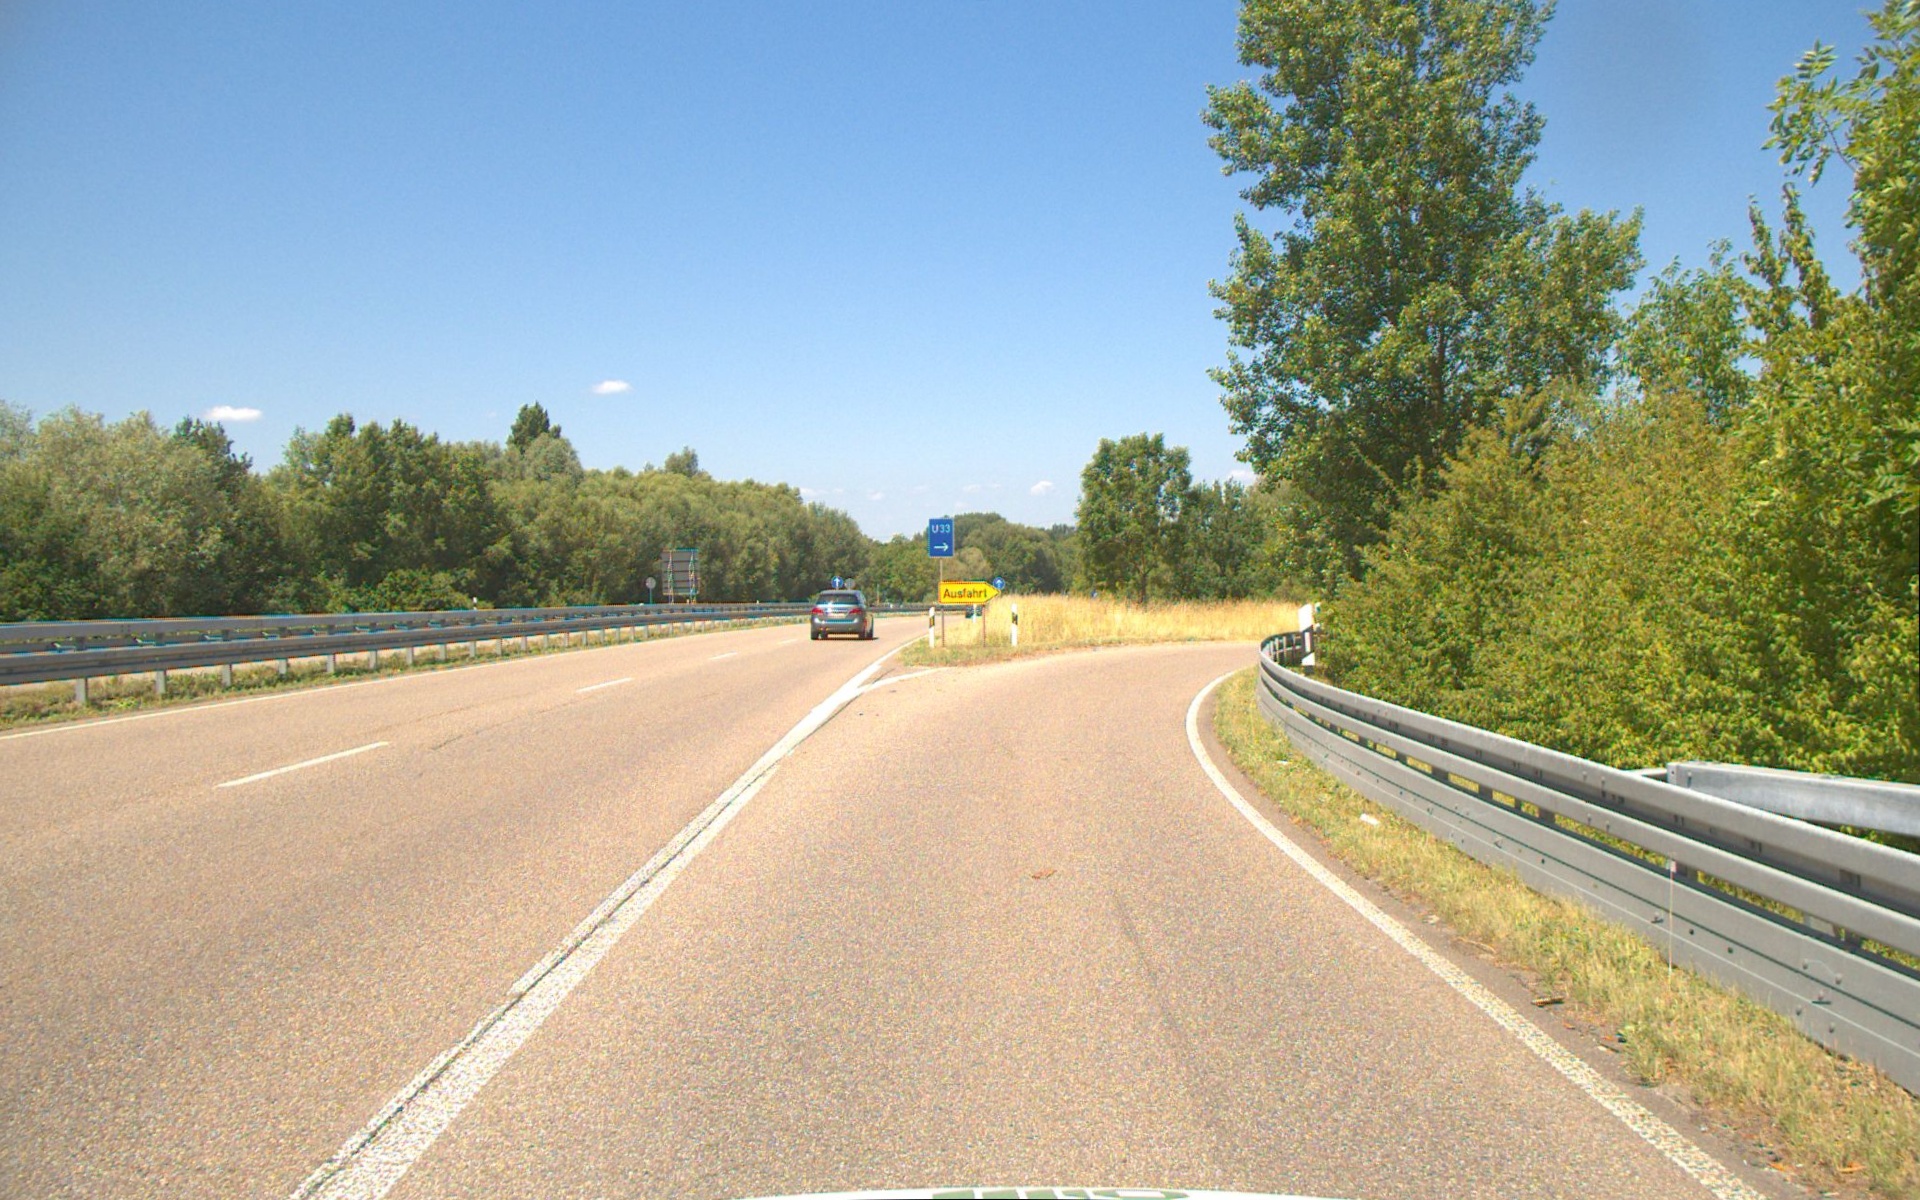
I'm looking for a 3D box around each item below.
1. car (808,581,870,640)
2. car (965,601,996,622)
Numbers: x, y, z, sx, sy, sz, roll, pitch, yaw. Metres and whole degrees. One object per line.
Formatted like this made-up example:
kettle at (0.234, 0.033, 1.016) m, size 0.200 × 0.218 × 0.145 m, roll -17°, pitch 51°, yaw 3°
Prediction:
car at (-3.880, 0.305, 53.687) m, size 1.757 × 1.696 × 4.553 m, roll 2°, pitch 1°, yaw -2°
car at (1.656, 0.891, 133.424) m, size 1.802 × 1.556 × 4.474 m, roll 1°, pitch 1°, yaw 10°
